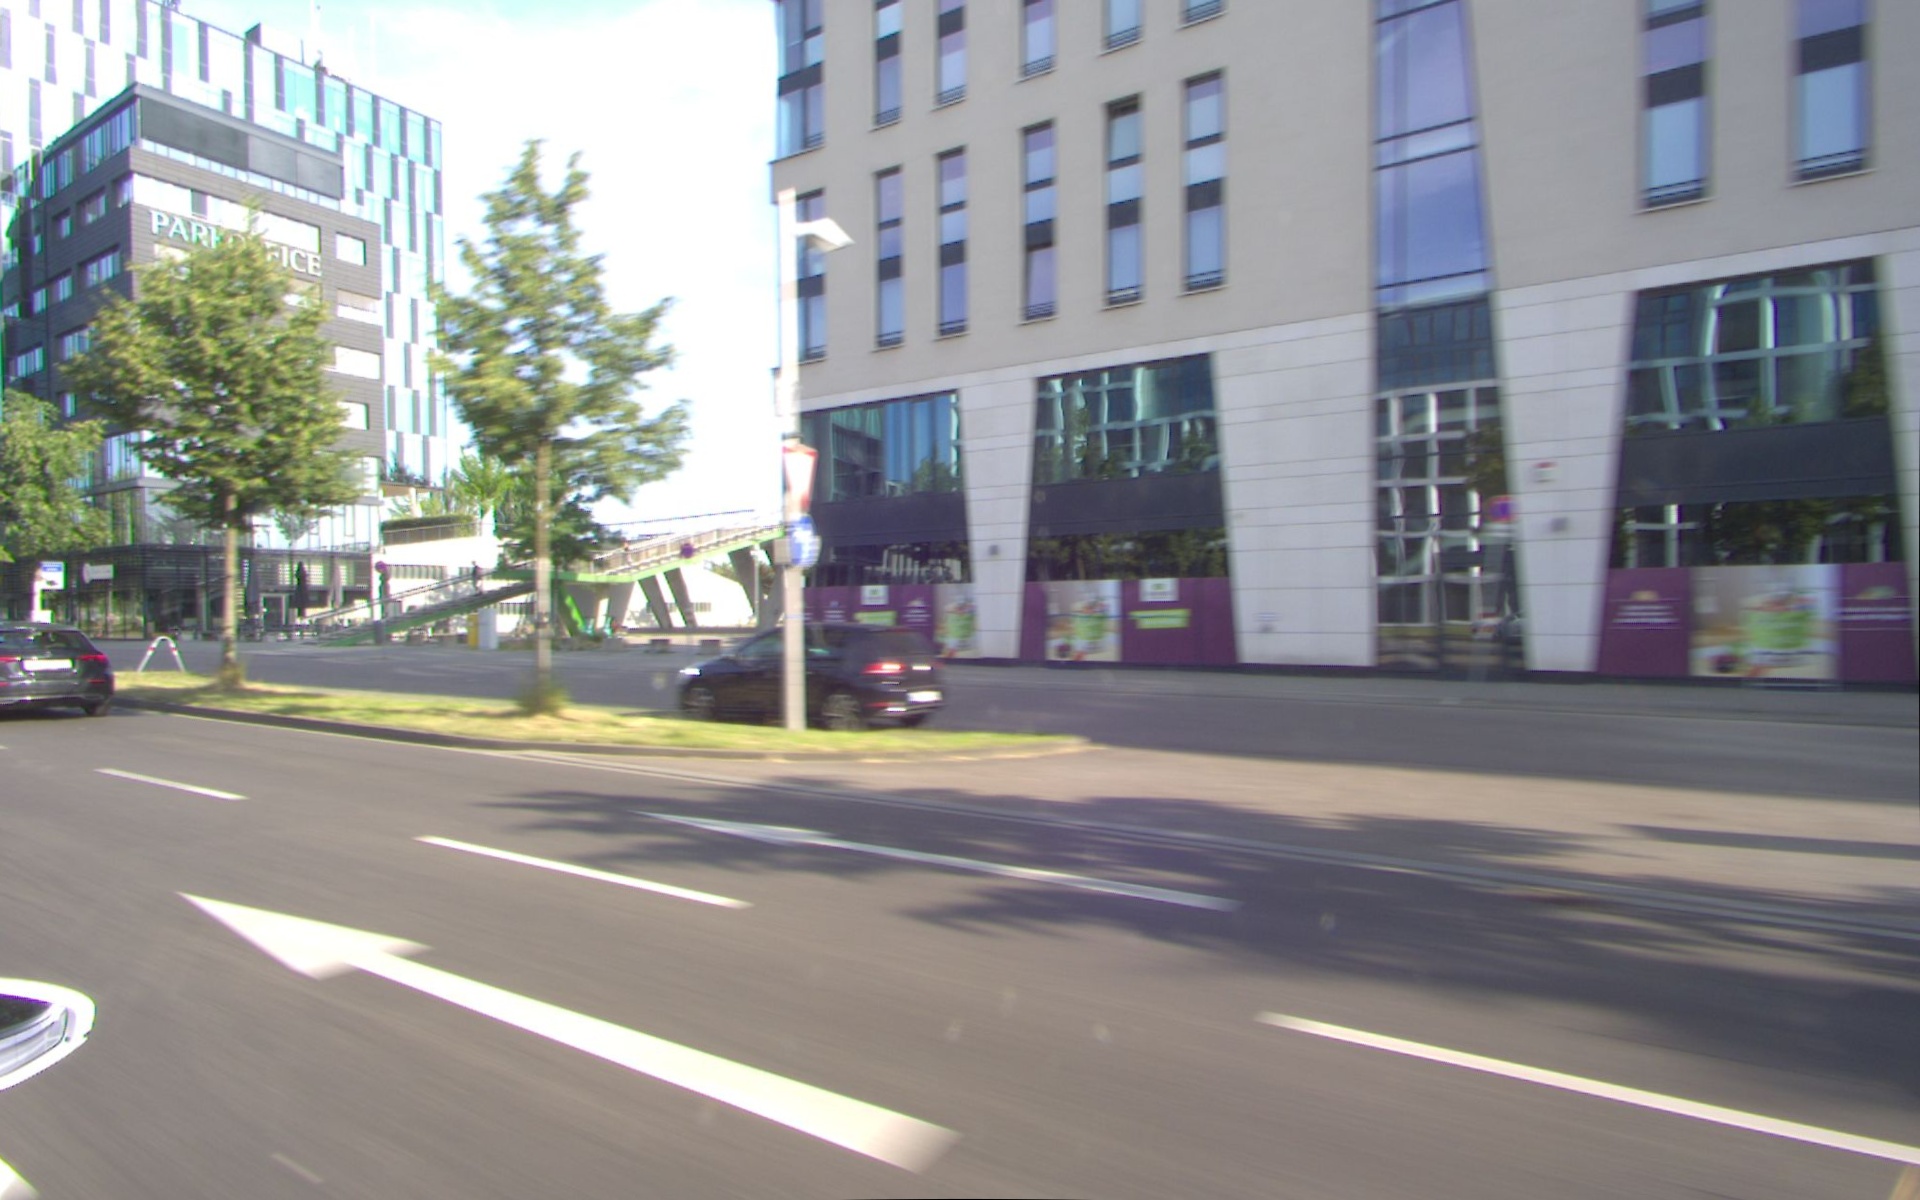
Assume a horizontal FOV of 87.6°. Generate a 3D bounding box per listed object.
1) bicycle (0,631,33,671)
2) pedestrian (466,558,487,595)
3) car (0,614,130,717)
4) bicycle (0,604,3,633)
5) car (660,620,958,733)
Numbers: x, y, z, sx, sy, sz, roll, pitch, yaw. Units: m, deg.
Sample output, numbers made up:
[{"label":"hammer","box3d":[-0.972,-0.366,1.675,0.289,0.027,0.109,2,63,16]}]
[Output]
[{"label":"bicycle","box3d":[-25.539,1.323,25.959,0.563,1.025,2.133,0,-2,28]},{"label":"pedestrian","box3d":[-23.148,-1.096,47.906,0.689,1.713,0.779,2,-2,-45]},{"label":"car","box3d":[-14.738,0.969,15.543,3.905,1.442,1.771,-1,-2,33]},{"label":"bicycle","box3d":[-58.546,1.074,59.454,0.548,1.768,2.423,-1,-2,41]},{"label":"car","box3d":[-2.184,1.005,14.111,4.097,1.388,1.604,-1,-2,32]}]
